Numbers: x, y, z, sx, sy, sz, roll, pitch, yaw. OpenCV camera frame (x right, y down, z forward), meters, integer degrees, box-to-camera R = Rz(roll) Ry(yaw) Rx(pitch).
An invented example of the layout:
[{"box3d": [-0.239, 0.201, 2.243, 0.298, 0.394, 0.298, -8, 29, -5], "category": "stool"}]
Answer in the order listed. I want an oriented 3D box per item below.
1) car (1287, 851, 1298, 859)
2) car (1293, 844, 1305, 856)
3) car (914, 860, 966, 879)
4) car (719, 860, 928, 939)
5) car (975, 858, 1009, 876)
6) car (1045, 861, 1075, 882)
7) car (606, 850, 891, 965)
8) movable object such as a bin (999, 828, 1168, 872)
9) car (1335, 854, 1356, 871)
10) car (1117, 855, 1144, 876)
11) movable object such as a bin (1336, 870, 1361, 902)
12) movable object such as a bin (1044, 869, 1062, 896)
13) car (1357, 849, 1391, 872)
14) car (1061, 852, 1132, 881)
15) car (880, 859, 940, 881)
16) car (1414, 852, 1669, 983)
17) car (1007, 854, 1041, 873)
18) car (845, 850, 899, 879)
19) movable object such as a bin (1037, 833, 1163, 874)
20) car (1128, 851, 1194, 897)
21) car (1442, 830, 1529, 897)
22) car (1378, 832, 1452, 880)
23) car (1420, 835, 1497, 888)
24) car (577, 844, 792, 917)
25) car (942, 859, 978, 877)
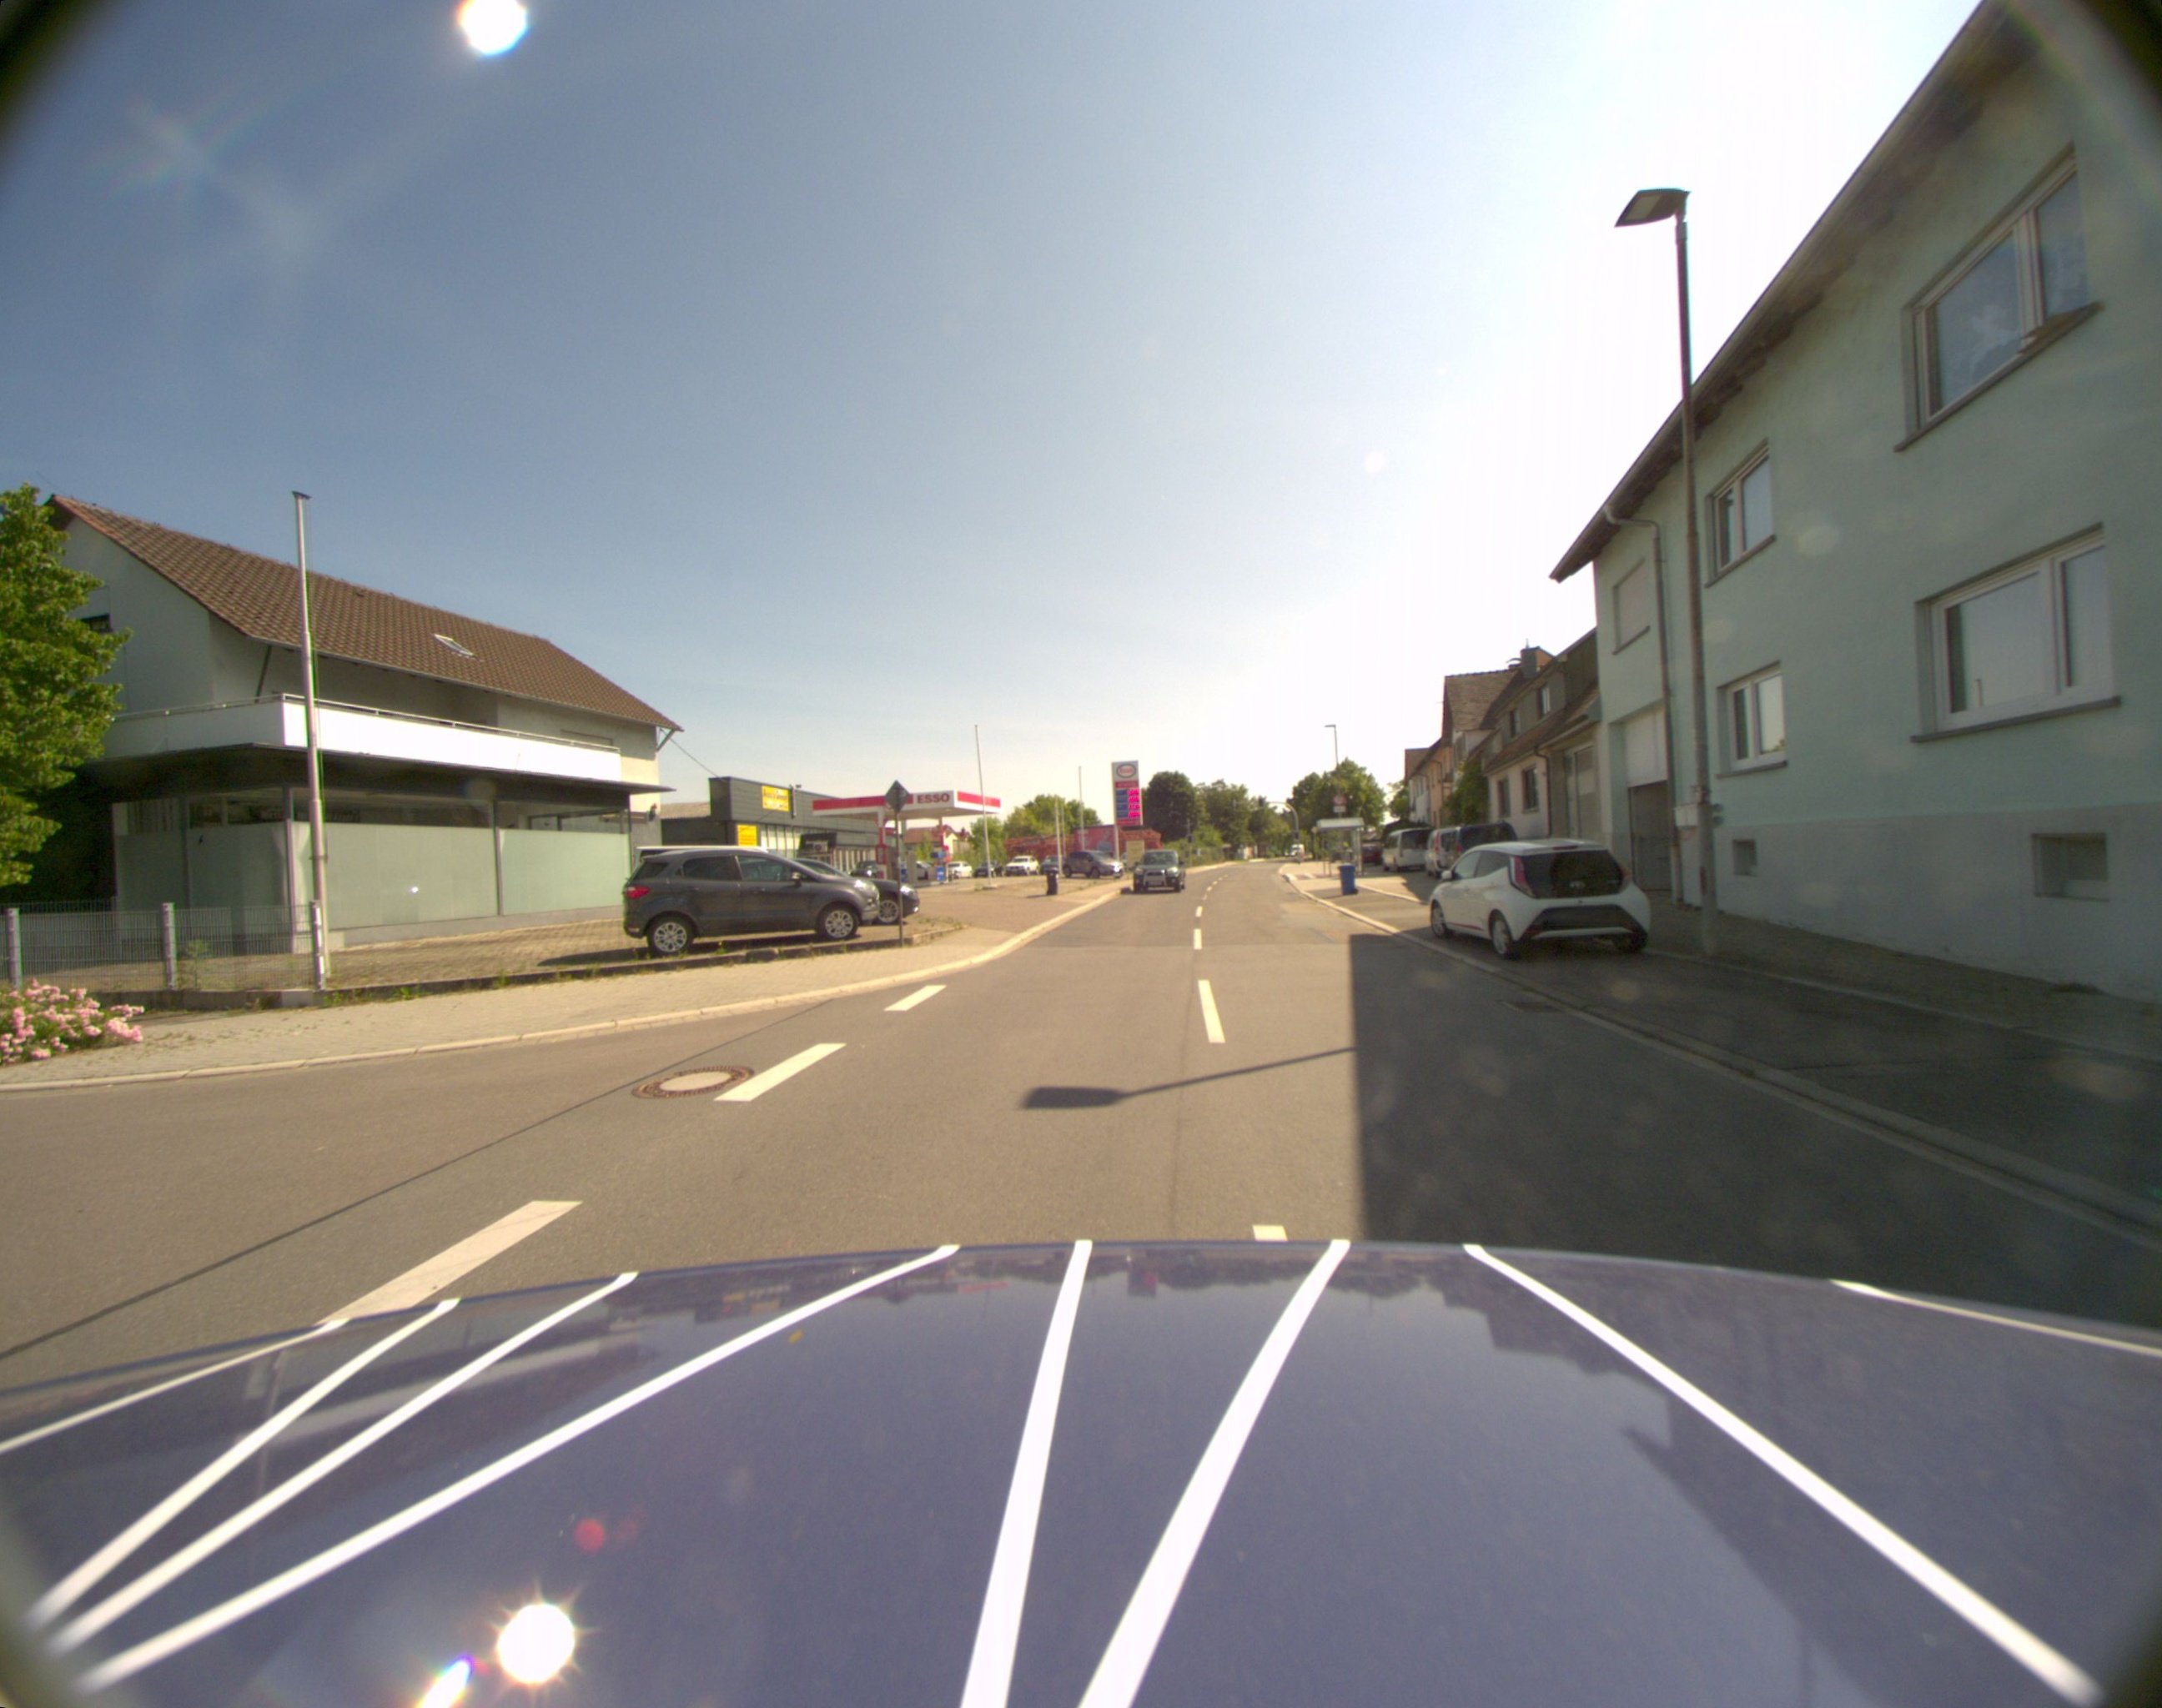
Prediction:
[{"box3d": [40.624, 0.161, 145.941, 1.843, 1.583, 4.111, -1, 0, 20], "category": "car"}, {"box3d": [45.670, -0.840, 159.179, 1.935, 2.488, 5.846, -1, 0, 20], "category": "car"}, {"box3d": [-11.334, 1.233, 61.335, 3.684, 1.465, 1.813, -1, 0, 10], "category": "car"}, {"box3d": [-5.283, 0.864, 15.772, 3.877, 1.438, 1.748, -1, 0, -21], "category": "car"}, {"box3d": [-7.537, 1.103, 64.658, 1.845, 1.379, 4.002, -1, 0, 8], "category": "car"}, {"box3d": [-1.746, 1.460, 64.149, 1.845, 1.583, 4.108, -1, 0, 8], "category": "car"}, {"box3d": [-5.491, 0.784, 12.843, 4.119, 1.643, 1.827, -1, 0, -26], "category": "car"}, {"box3d": [0.207, -0.322, 73.774, 16.076, 3.995, 2.776, -1, 0, 13], "category": "movable object such as a bin"}, {"box3d": [24.150, 0.718, 69.485, 1.716, 1.399, 4.403, 0, 1, 17], "category": "car"}, {"box3d": [4.253, 1.005, 64.335, 1.807, 1.676, 4.373, 0, -1, 10], "category": "car"}, {"box3d": [8.160, 0.974, 23.186, 0.558, 0.931, 0.515, -3, 0, 4], "category": "movable object such as a bin"}, {"box3d": [-0.986, 1.007, 26.790, 0.558, 0.931, 0.515, -1, 0, 4], "category": "movable object such as a bin"}, {"box3d": [20.106, 0.442, 52.202, 1.717, 1.444, 3.920, -2, -1, 15], "category": "car"}, {"box3d": [0.821, 0.676, 43.336, 1.778, 1.546, 4.171, -1, 0, -38], "category": "car"}, {"box3d": [-13.202, 1.249, 58.736, 4.148, 1.624, 1.813, -1, 1, 10], "category": "car"}, {"box3d": [6.094, 0.740, 10.587, 1.687, 1.453, 3.651, -2, 0, 7], "category": "car"}, {"box3d": [-4.780, 0.779, 64.587, 2.002, 1.583, 4.341, -1, 0, 8], "category": "car"}, {"box3d": [-13.400, 0.721, 48.972, 1.808, 1.730, 4.821, -2, -1, 4], "category": "car"}, {"box3d": [2.074, -0.043, 82.128, 13.273, 4.141, 2.866, -1, 0, 13], "category": "movable object such as a bin"}, {"box3d": [3.260, 0.785, 30.260, 1.846, 1.686, 4.404, -2, -1, 16], "category": "car"}, {"box3d": [12.464, 0.268, 23.669, 1.839, 1.782, 4.349, -4, -1, 22], "category": "car"}, {"box3d": [16.007, 0.071, 36.733, 2.129, 1.974, 5.270, -6, -1, 13], "category": "car"}, {"box3d": [13.945, 0.238, 28.278, 1.970, 1.764, 4.282, -2, 0, 19], "category": "car"}, {"box3d": [-11.664, 0.743, 22.791, 5.288, 2.002, 2.229, -1, 0, -13], "category": "car"}, {"box3d": [-10.376, 1.176, 65.584, 1.845, 1.379, 4.378, -1, 0, 8], "category": "car"}]
